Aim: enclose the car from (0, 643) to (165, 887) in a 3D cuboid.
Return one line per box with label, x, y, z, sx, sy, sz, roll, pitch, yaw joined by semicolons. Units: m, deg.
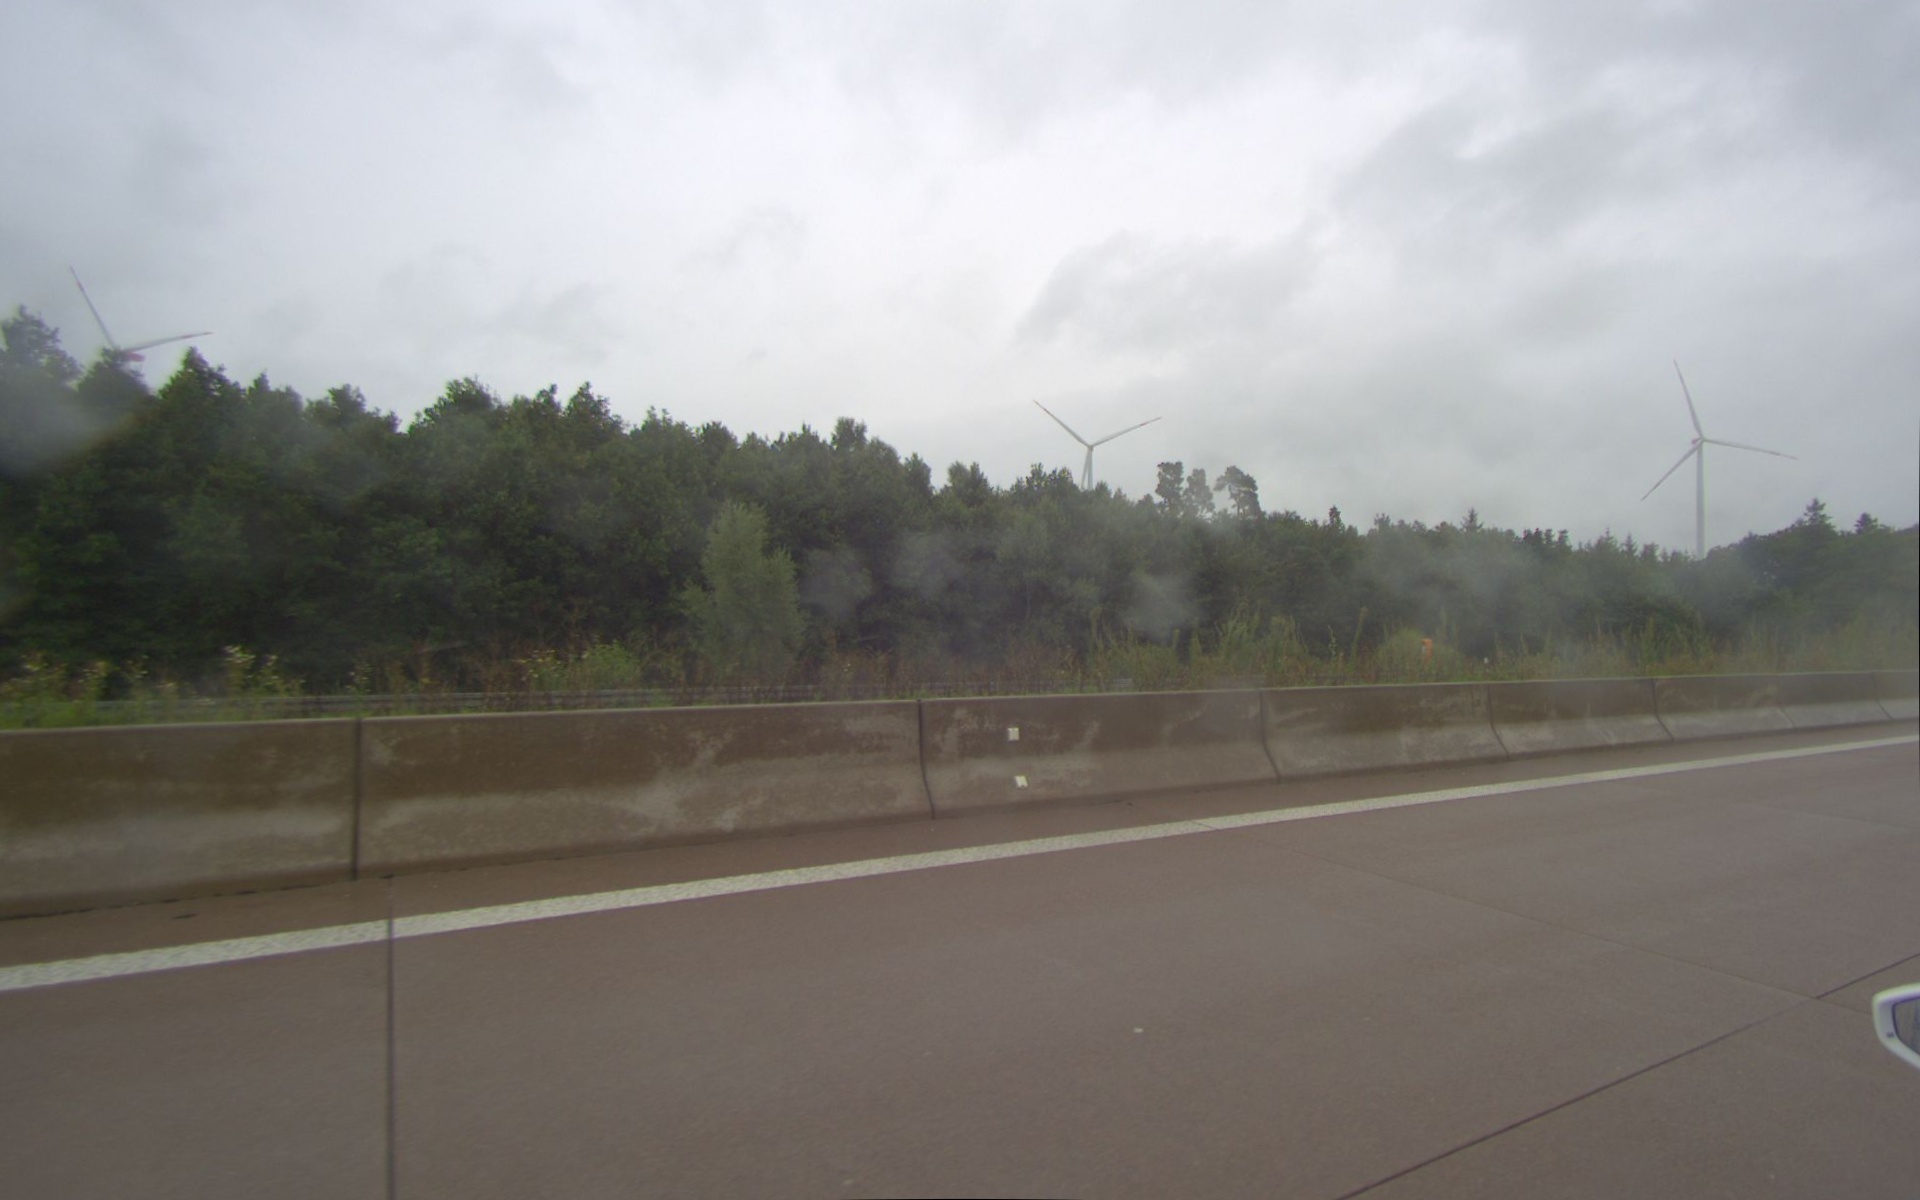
car;-9.853;1.459;9.040;3.952;2.040;1.774;1;1;-30
